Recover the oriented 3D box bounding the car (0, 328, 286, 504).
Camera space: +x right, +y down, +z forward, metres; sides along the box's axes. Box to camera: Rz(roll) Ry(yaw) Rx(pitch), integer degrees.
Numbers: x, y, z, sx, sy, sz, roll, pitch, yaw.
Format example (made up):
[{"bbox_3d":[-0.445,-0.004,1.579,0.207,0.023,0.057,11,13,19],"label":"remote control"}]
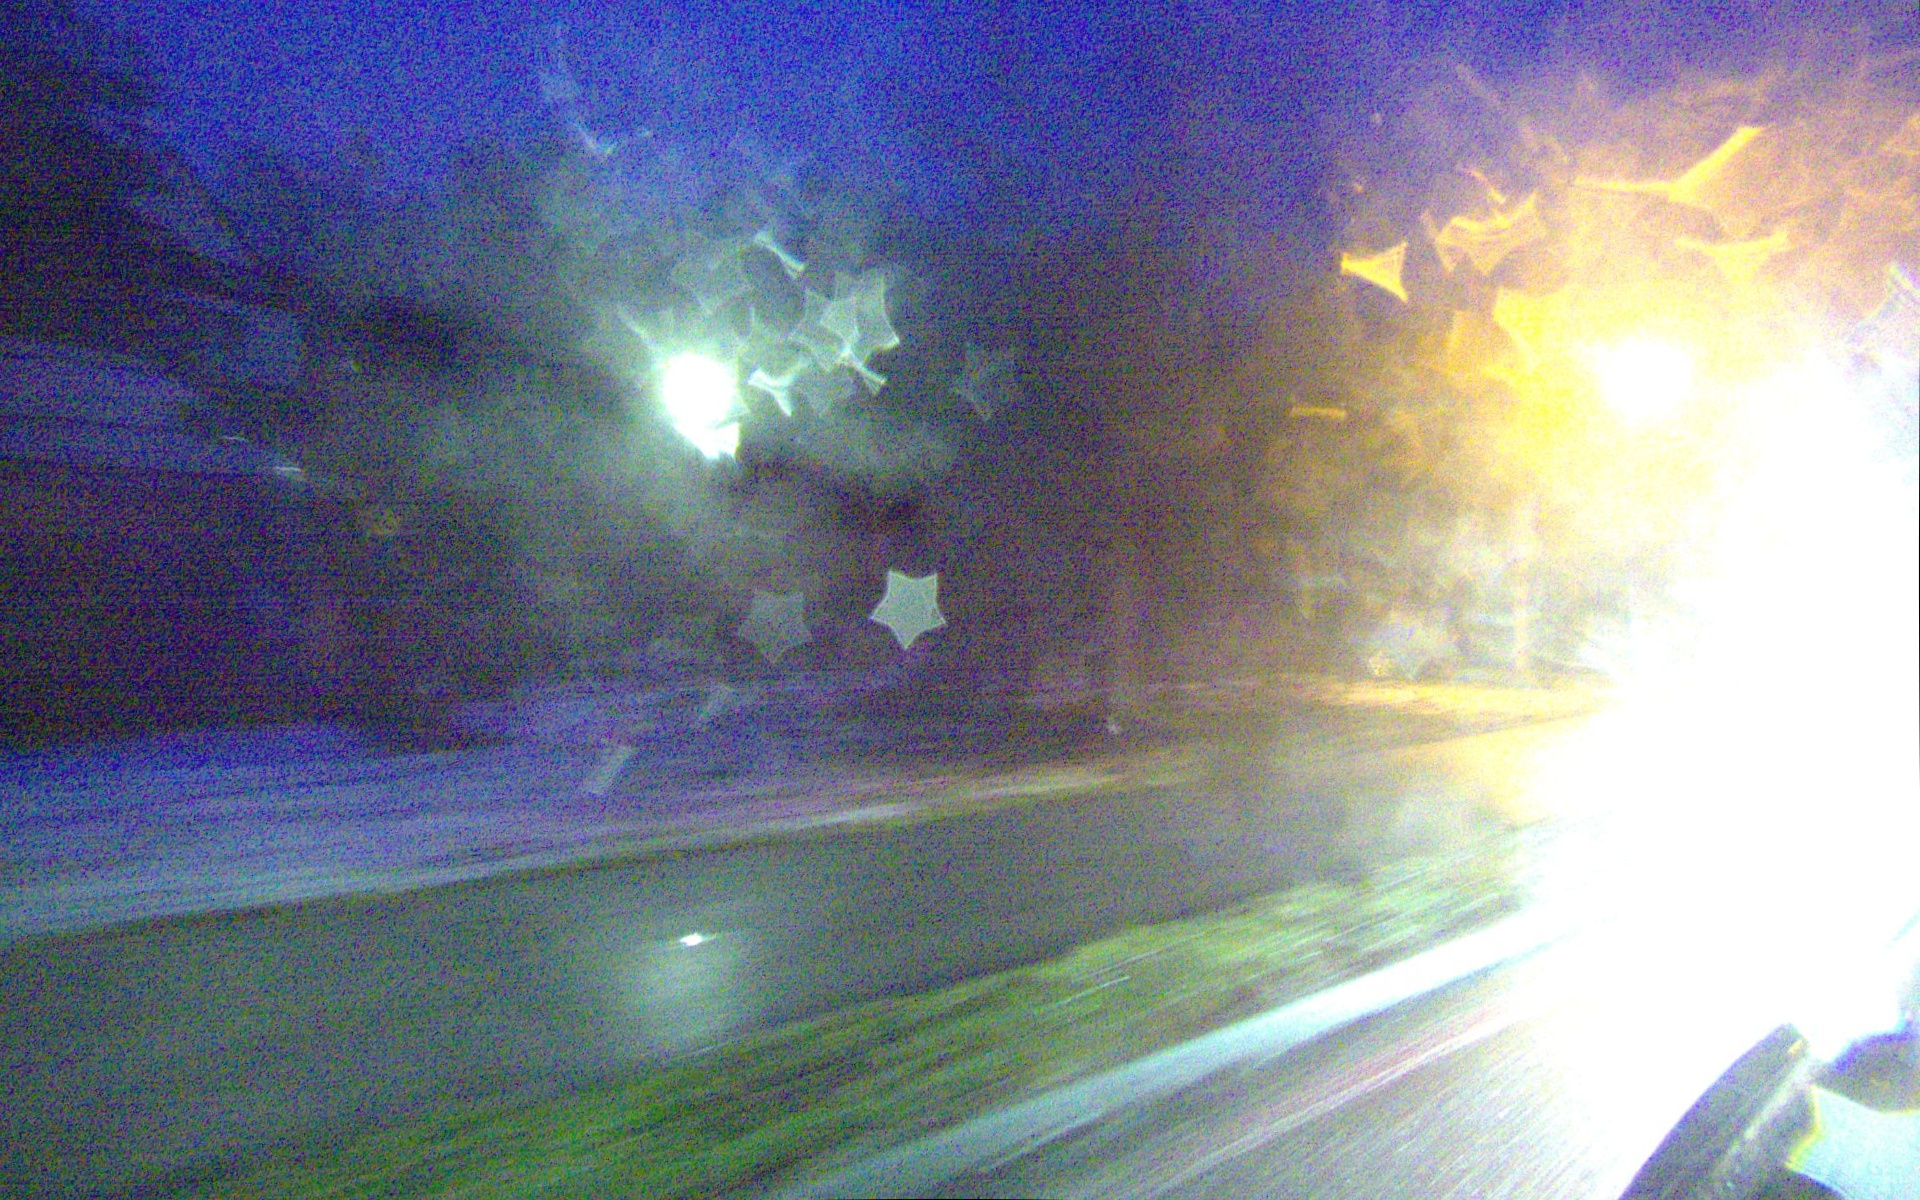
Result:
[{"bbox_3d":[-16.422,-3.405,19.493,2.109,2.668,5.377,1,1,38],"label":"car"}]
